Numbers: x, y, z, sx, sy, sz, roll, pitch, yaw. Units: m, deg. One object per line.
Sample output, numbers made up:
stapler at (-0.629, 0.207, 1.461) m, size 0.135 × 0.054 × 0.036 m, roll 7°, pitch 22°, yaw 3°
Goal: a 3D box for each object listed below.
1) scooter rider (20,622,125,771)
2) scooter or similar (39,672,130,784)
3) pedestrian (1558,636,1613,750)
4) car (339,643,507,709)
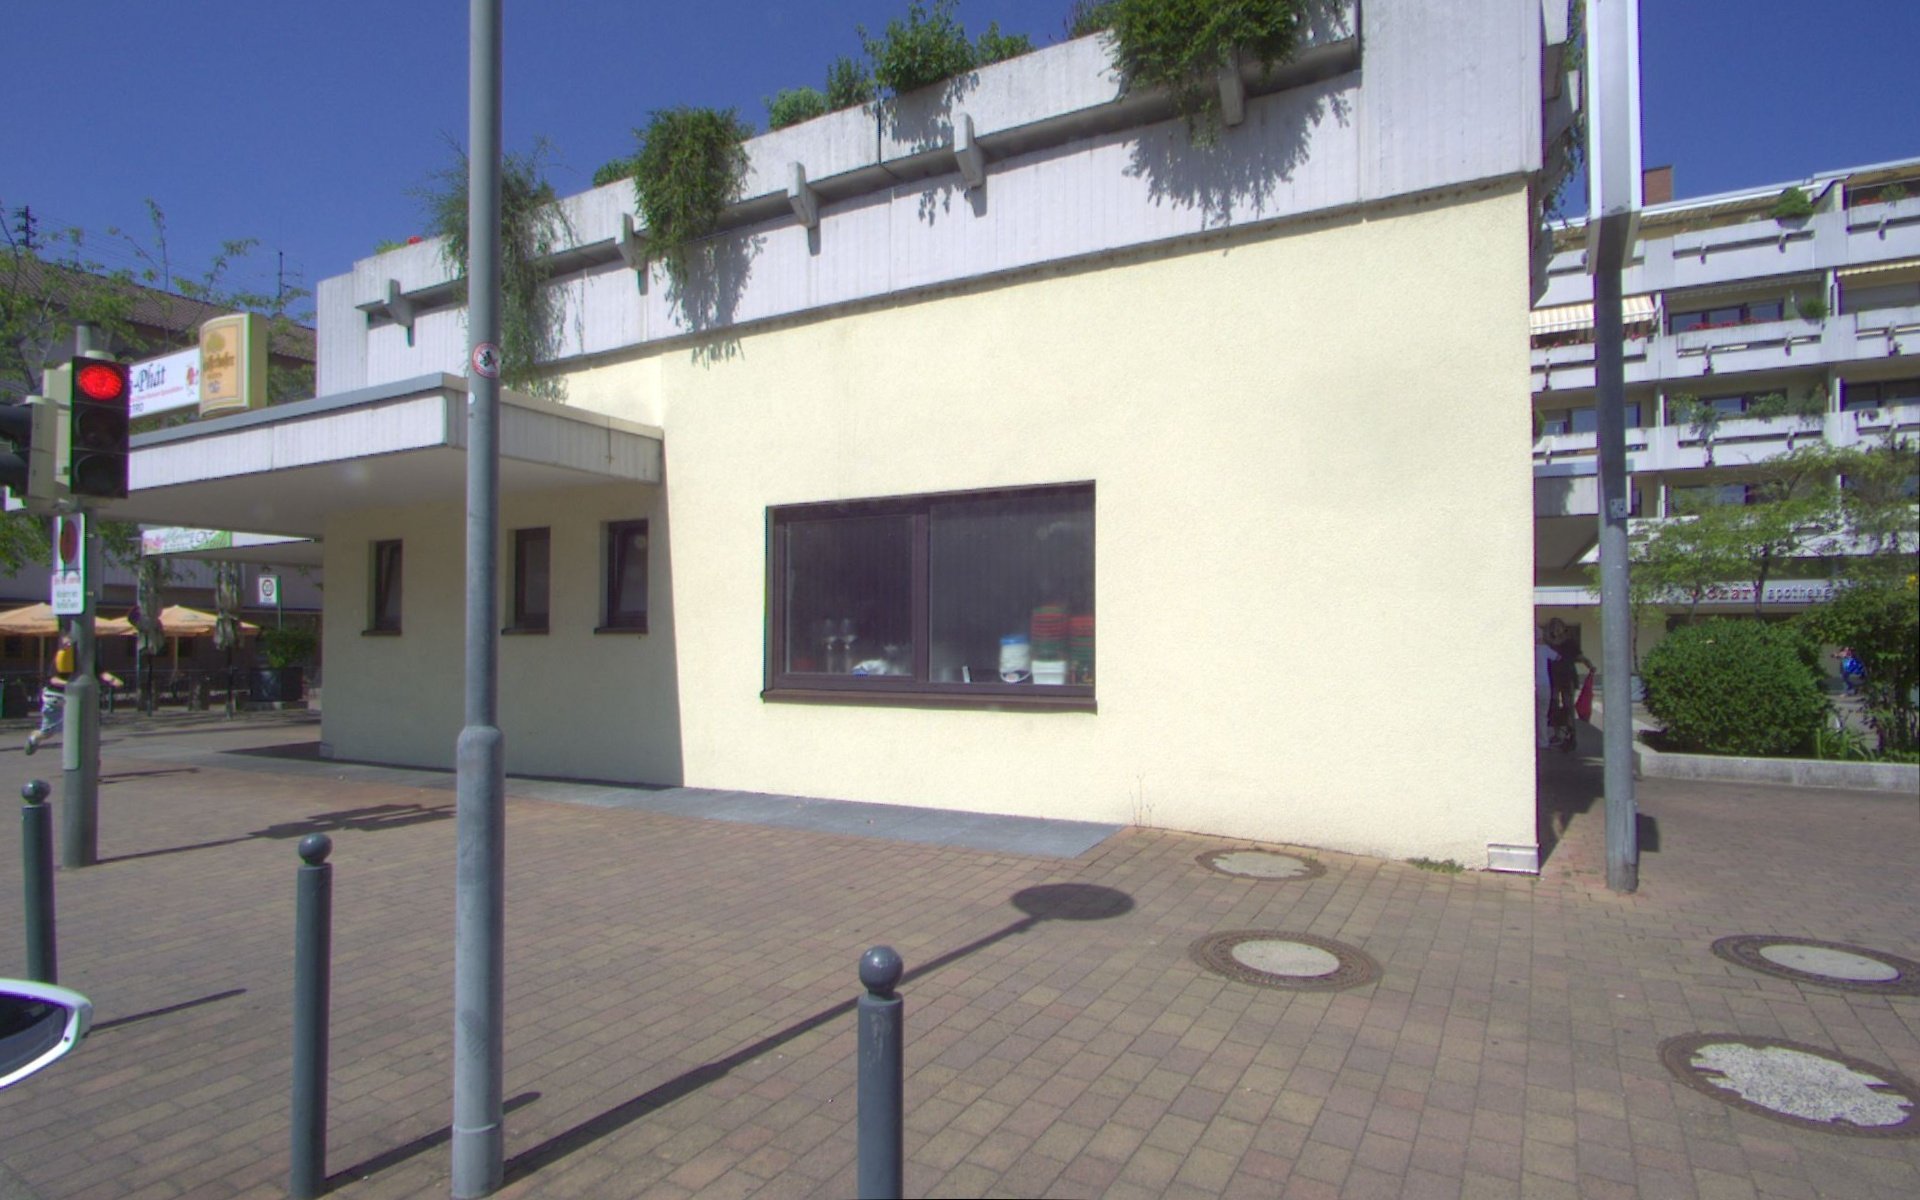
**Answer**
scooter rider at (-8.480, 0.893, 9.561) m, size 1.117 × 1.341 × 0.460 m, roll -1°, pitch -1°, yaw 33°
scooter or similar at (-8.270, 1.182, 9.458) m, size 0.947 × 0.977 × 0.410 m, roll -1°, pitch -2°, yaw 34°
pedestrian at (8.454, 1.230, 13.556) m, size 0.596 × 1.482 × 0.791 m, roll -1°, pitch -2°, yaw 32°
car at (-13.436, 1.879, 25.051) m, size 3.909 × 1.528 × 1.767 m, roll -2°, pitch -3°, yaw 26°
